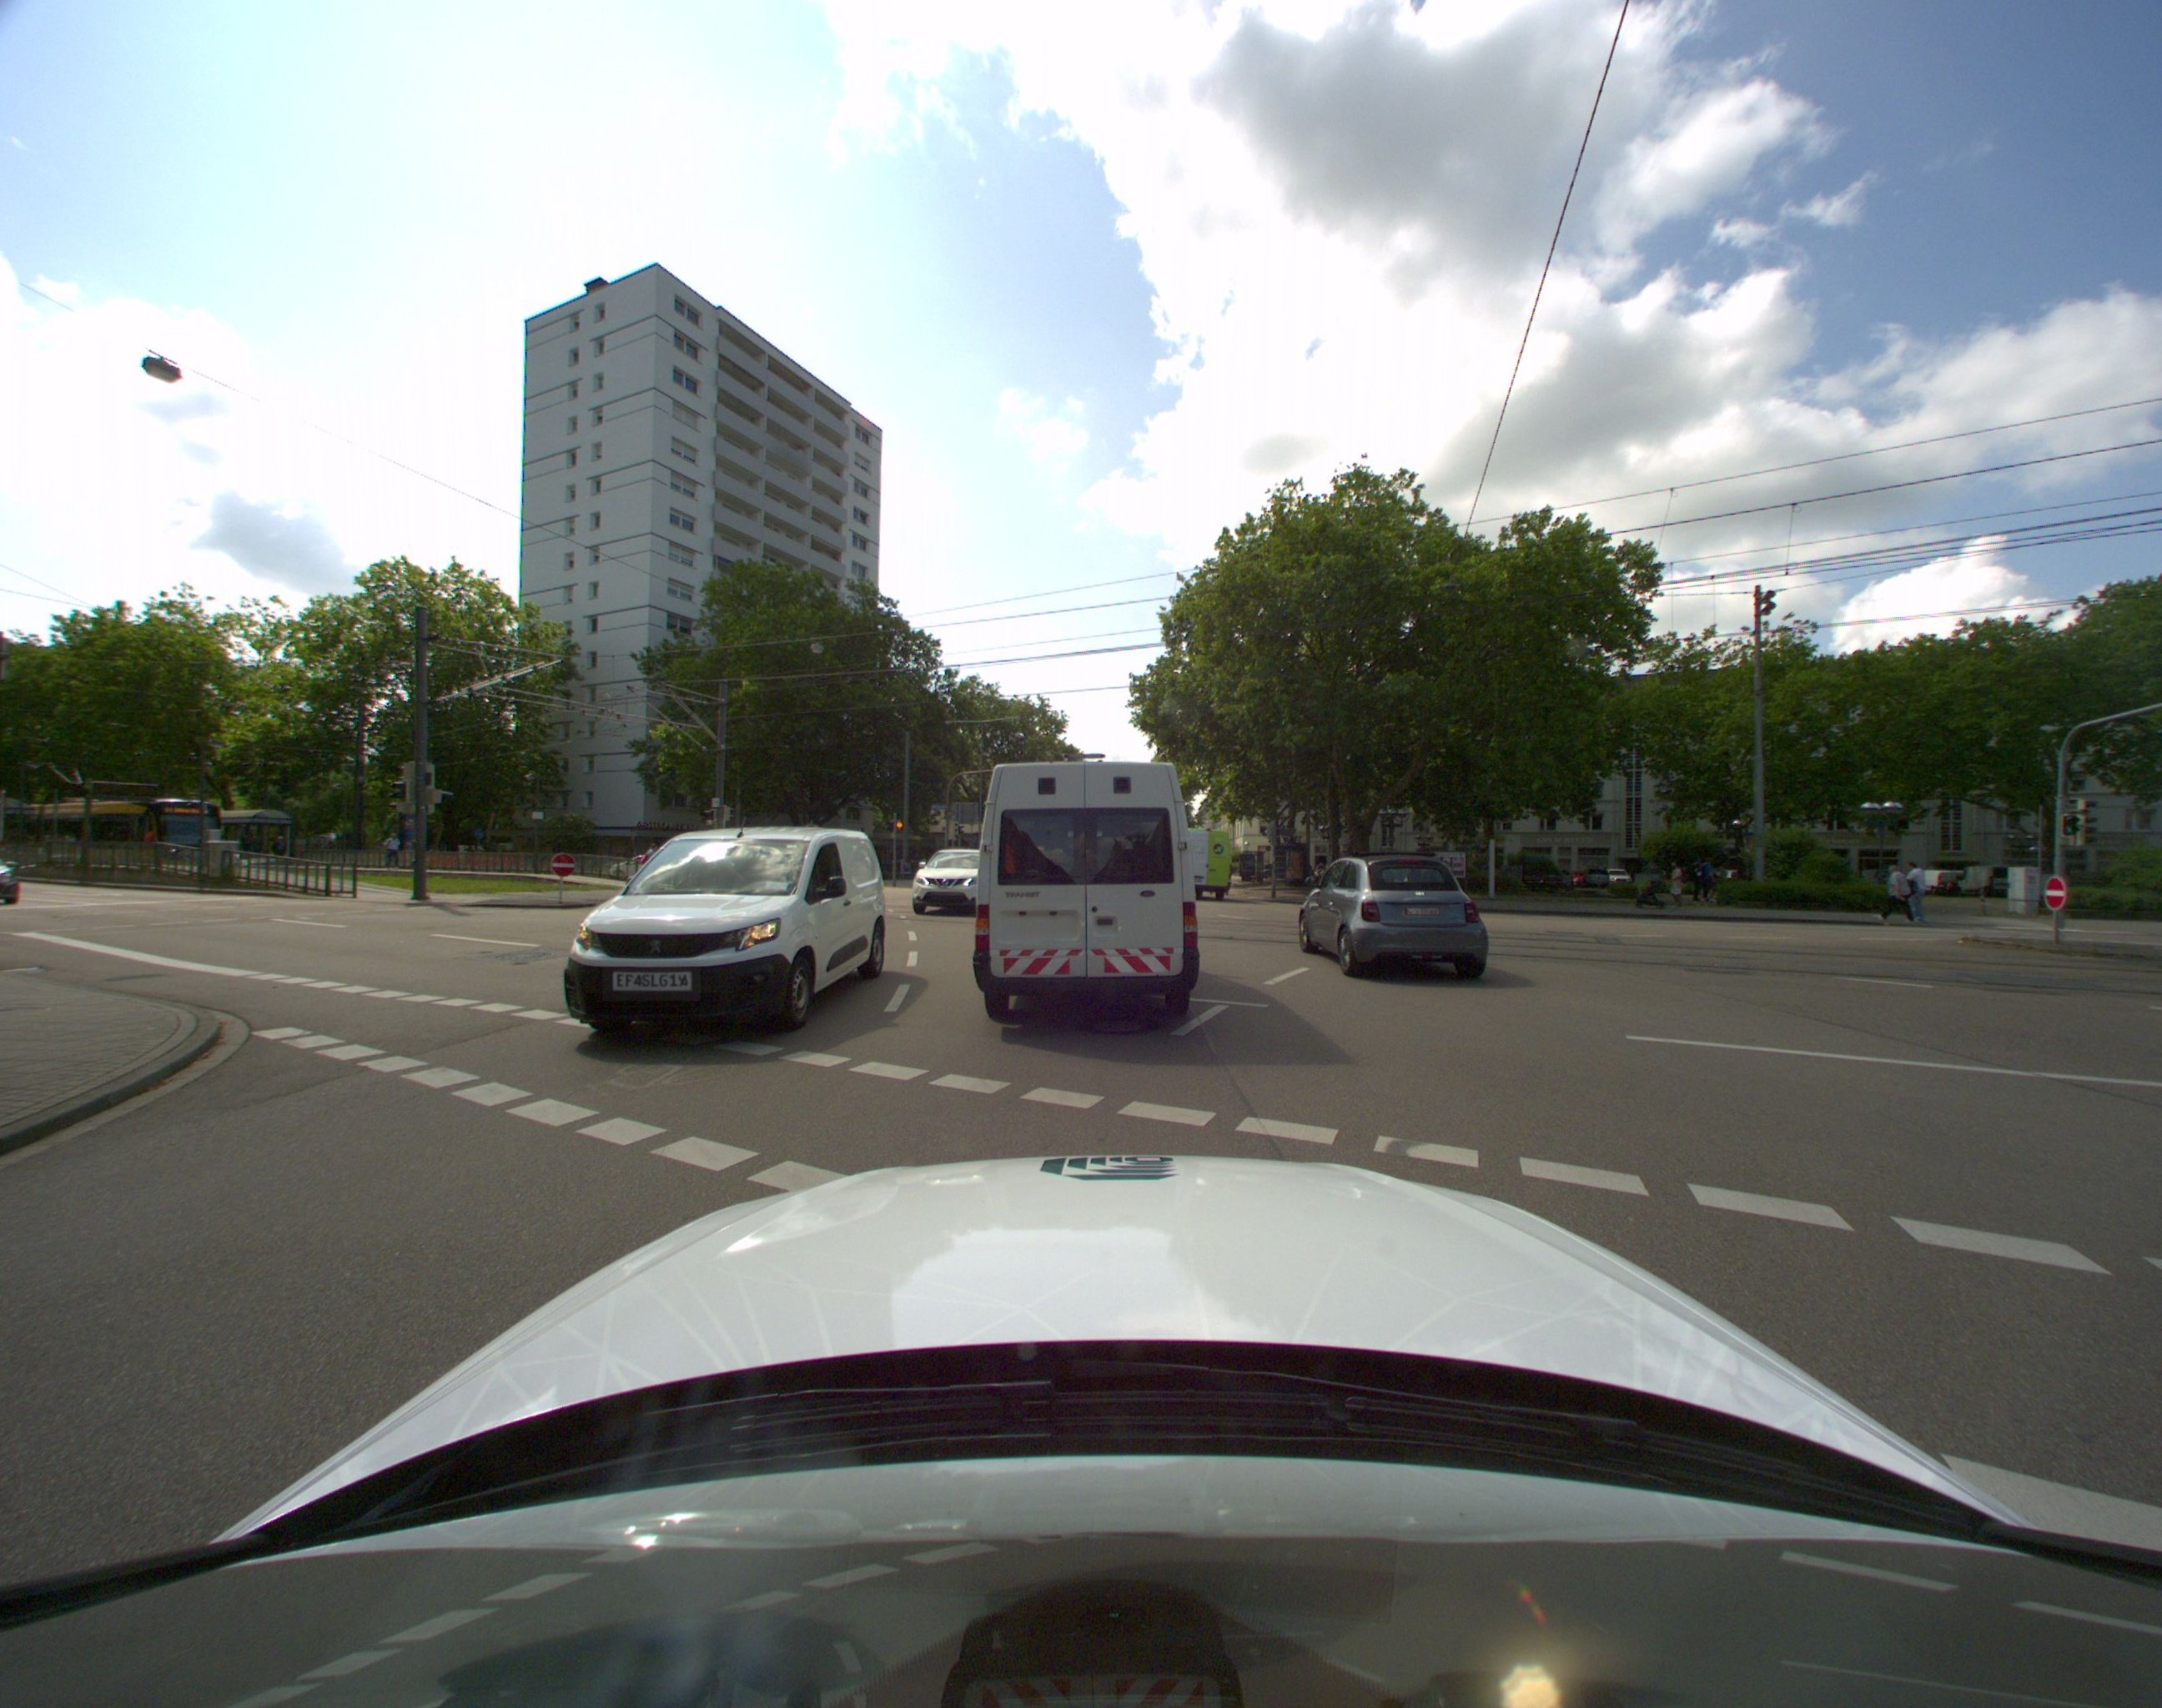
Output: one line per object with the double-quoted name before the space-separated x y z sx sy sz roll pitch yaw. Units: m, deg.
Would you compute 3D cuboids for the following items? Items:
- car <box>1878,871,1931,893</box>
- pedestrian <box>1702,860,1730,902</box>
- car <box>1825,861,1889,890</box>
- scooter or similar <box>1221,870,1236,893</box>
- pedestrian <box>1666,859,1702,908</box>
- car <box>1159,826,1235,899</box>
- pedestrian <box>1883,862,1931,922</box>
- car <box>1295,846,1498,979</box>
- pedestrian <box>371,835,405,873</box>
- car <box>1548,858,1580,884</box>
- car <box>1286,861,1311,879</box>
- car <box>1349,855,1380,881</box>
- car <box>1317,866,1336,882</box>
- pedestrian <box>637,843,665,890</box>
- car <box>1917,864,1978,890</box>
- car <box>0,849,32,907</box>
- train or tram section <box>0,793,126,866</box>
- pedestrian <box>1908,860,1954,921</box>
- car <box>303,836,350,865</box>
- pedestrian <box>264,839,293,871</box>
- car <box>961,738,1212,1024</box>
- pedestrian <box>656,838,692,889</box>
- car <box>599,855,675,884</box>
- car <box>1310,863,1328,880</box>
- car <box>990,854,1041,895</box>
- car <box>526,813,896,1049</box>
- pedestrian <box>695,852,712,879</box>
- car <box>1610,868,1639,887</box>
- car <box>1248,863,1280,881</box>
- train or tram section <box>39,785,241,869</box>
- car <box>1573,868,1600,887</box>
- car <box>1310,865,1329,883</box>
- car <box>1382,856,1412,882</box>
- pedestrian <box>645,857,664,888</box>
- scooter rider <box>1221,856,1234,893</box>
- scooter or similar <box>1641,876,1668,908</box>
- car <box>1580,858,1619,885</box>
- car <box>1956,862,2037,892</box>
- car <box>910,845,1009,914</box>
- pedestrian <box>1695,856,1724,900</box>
"car" 64.064 2.128 63.429 1.722 1.637 4.024 0 -1 28
"pedestrian" 26.813 1.130 34.386 0.694 1.750 0.606 1 -1 2
"car" 54.029 1.459 56.788 2.078 1.905 4.518 0 -1 28
"scooter or similar" 7.281 1.372 40.289 0.547 1.091 1.292 1 0 1
"pedestrian" 20.690 1.016 27.971 0.911 1.646 0.573 0 -1 27
"car" 4.538 0.311 32.912 2.113 2.641 6.325 1 0 -1
"pedestrian" 24.318 1.110 23.994 0.714 1.722 0.693 1 0 2
"car" 4.151 0.683 11.285 1.684 1.538 3.472 1 0 4
"pedestrian" -33.361 -0.002 39.227 1.032 1.780 0.856 0 -1 26
"car" 38.364 1.340 64.792 1.975 2.014 4.024 0 -1 27
"car" 22.557 1.686 84.362 1.888 1.796 4.746 0 -1 23
"car" 24.417 1.196 70.062 1.975 2.183 4.282 0 -1 26
"car" 21.634 1.737 71.668 1.453 1.389 3.251 1 -1 19
"pedestrian" -15.531 0.459 29.408 0.667 1.666 0.630 0 -1 34
"car" 66.396 1.745 62.489 1.975 1.964 4.024 0 -1 28
"car" -28.834 0.585 20.812 3.599 1.438 1.648 0 -1 24
"train or tram section" -55.446 -1.242 43.669 10.275 3.584 2.821 0 -1 25
"pedestrian" 25.048 1.069 24.008 0.665 1.764 0.693 1 0 2
"car" -73.005 -0.346 78.811 4.225 2.775 1.823 0 -1 25
"pedestrian" -44.734 0.044 45.375 0.866 1.775 0.865 0 -1 26
"car" 0.003 0.225 9.049 2.041 2.333 4.711 1 0 -1
"pedestrian" -15.483 0.353 30.986 0.836 1.899 0.834 0 -1 26
"car" -25.184 0.888 46.271 3.578 1.544 1.546 1 -1 -22
"car" 24.191 1.767 82.809 1.453 1.666 3.083 1 -1 22
"car" -2.618 0.788 33.424 1.742 1.540 3.931 -2 0 0
"car" -3.272 0.553 8.278 1.806 1.775 4.283 0 1 0
"pedestrian" -23.091 0.699 49.794 0.775 1.599 0.538 0 -1 23
"car" 47.590 2.055 71.393 1.722 1.637 4.024 0 -1 28
"car" 16.707 1.600 74.159 2.009 1.600 4.564 0 -1 24
"train or tram section" -44.945 -1.192 38.739 12.855 3.584 2.832 0 -1 25
"car" 45.084 2.045 72.694 1.722 1.637 4.024 0 -1 28
"car" 19.866 1.662 67.891 1.454 1.389 3.080 1 -1 17
"car" 26.889 1.285 69.249 1.975 2.076 4.023 0 -1 26
"pedestrian" -15.130 0.656 28.890 0.431 1.063 0.423 0 -1 36
"scooter rider" 7.291 1.025 40.416 0.524 1.812 0.649 1 -1 1
"scooter or similar" 19.959 1.316 28.349 0.699 1.056 0.494 0 -1 27
"car" 40.320 1.334 63.413 1.976 2.014 4.022 0 -1 24
"car" 60.073 1.480 53.574 2.078 1.905 4.518 0 -1 28
"car" -2.973 0.566 20.712 1.763 1.582 4.023 0 0 2
"pedestrian" 25.563 0.972 33.129 0.694 1.750 0.606 1 -1 2
